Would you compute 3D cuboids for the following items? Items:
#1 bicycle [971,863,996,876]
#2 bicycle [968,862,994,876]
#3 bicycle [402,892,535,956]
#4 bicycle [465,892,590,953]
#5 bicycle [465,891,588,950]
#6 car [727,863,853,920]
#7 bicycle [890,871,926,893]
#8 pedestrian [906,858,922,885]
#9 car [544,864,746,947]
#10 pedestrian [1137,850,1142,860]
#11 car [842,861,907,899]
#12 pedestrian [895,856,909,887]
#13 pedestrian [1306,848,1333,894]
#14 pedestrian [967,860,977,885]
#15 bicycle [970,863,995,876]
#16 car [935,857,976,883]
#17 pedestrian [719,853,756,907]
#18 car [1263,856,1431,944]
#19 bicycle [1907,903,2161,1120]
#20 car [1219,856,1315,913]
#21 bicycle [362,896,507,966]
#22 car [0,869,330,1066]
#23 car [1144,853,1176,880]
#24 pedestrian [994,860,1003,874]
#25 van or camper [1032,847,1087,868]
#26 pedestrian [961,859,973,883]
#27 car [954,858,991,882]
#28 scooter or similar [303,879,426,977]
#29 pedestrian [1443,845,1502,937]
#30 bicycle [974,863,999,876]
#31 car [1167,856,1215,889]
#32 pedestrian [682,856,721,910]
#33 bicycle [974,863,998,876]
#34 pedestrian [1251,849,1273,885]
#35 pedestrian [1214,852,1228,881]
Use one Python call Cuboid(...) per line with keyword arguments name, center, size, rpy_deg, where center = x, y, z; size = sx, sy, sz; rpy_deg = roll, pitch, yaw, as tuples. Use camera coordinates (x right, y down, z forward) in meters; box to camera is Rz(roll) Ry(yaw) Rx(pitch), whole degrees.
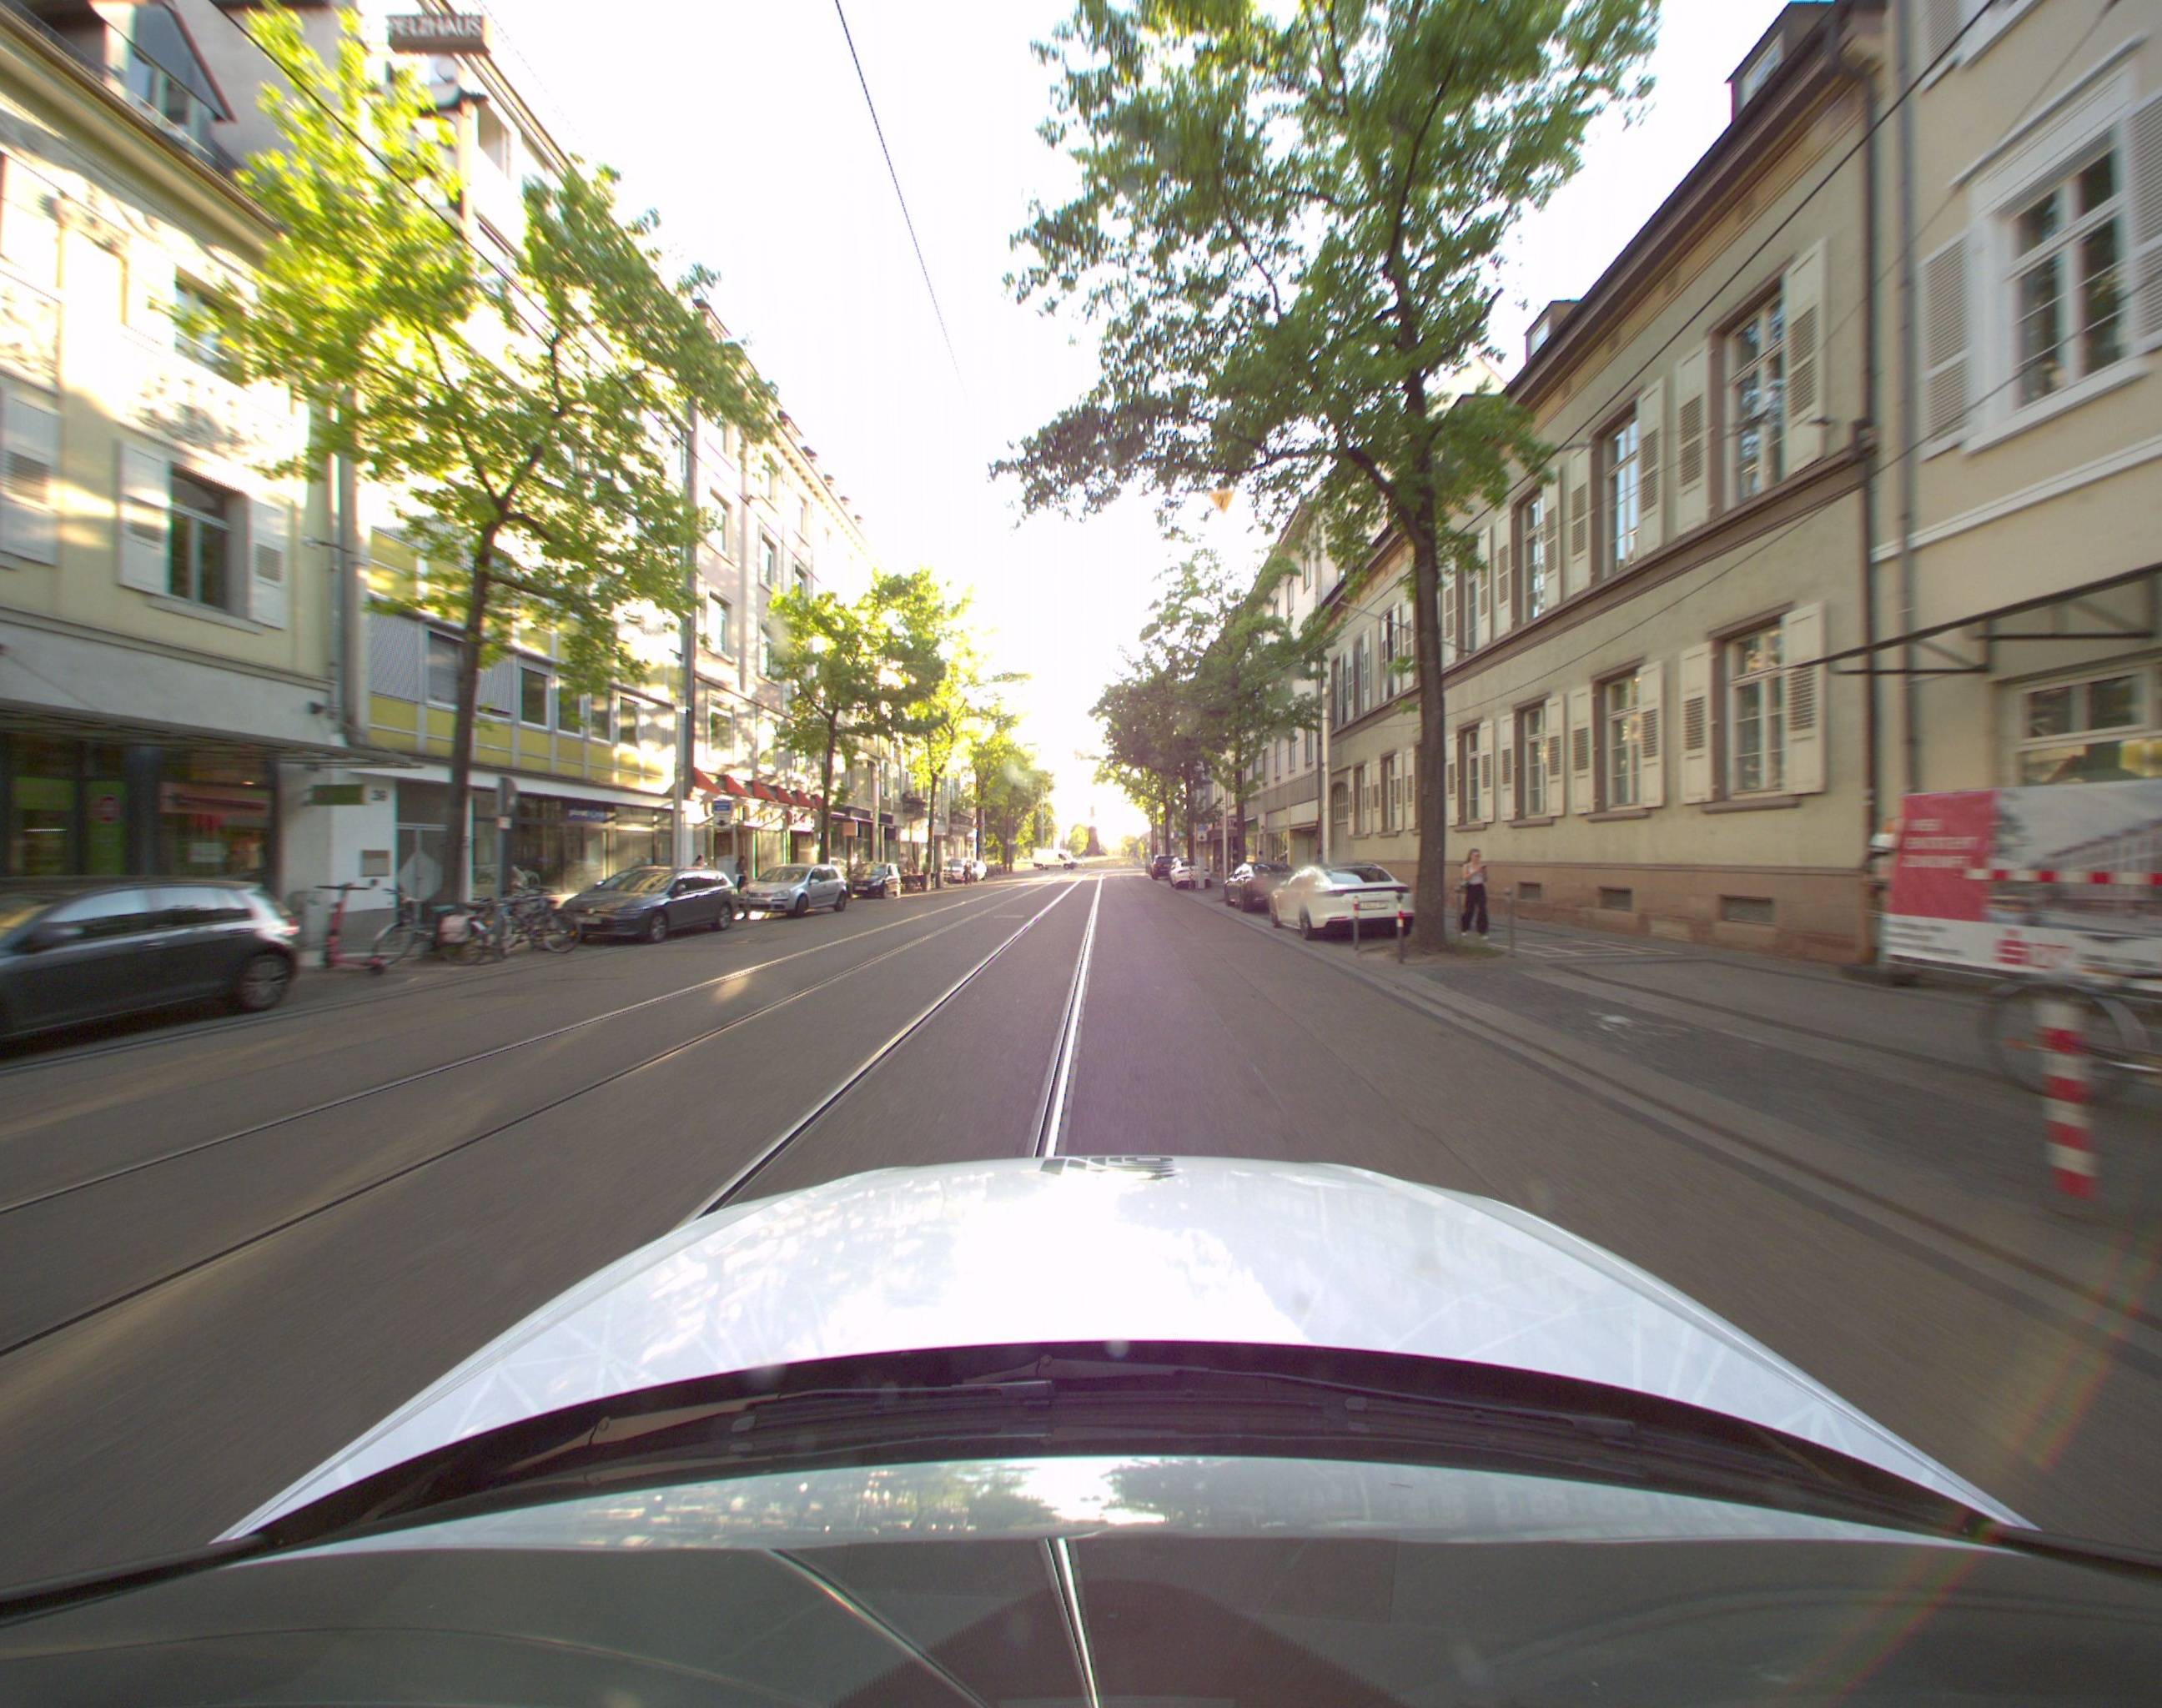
Cuboid(name="bicycle", center=(-8.319, 1.320, 69.475), size=(2.032, 1.105, 0.497), rpy_deg=(2, -1, -24))
Cuboid(name="bicycle", center=(-8.365, 1.280, 68.250), size=(2.117, 1.105, 0.497), rpy_deg=(2, -1, -24))
Cuboid(name="bicycle", center=(-10.032, 1.141, 13.345), size=(1.961, 1.001, 0.420), rpy_deg=(0, -1, 5))
Cuboid(name="bicycle", center=(-9.354, 1.153, 13.775), size=(1.962, 1.001, 0.331), rpy_deg=(0, -1, 4))
Cuboid(name="bicycle", center=(-9.642, 1.155, 14.167), size=(1.962, 1.001, 0.331), rpy_deg=(0, -1, 3))
Cuboid(name="car", center=(-8.293, 1.010, 23.662), size=(1.758, 1.497, 4.182), rpy_deg=(0, -1, 6))
Cuboid(name="bicycle", center=(-8.182, 1.313, 38.556), size=(1.607, 0.965, 0.433), rpy_deg=(1, 0, 6))
Cuboid(name="pedestrian", center=(-10.672, 1.111, 52.072), size=(0.719, 1.760, 1.090), rpy_deg=(0, 0, 2))
Cuboid(name="car", center=(-8.955, 0.968, 17.234), size=(1.705, 1.461, 4.488), rpy_deg=(1, 0, 2))
Cuboid(name="pedestrian", center=(9.246, 0.205, 129.051), size=(0.633, 1.606, 0.773), rpy_deg=(-1, 0, 6))
Cuboid(name="car", center=(-8.617, 1.050, 34.299), size=(1.660, 1.428, 3.828), rpy_deg=(2, 0, 1))
Cuboid(name="pedestrian", center=(-11.447, 1.122, 52.169), size=(0.719, 2.014, 0.643), rpy_deg=(0, 0, 1))
Cuboid(name="pedestrian", center=(8.835, 0.618, 30.200), size=(0.655, 1.665, 0.888), rpy_deg=(-3, -1, 1))
Cuboid(name="pedestrian", center=(-6.932, 1.173, 51.774), size=(0.519, 1.569, 0.634), rpy_deg=(-1, -1, 2))
Cuboid(name="bicycle", center=(-8.340, 1.330, 68.827), size=(2.032, 1.105, 0.497), rpy_deg=(2, -1, -24))
Cuboid(name="car", center=(-8.270, 1.016, 53.826), size=(1.829, 1.580, 4.118), rpy_deg=(3, 0, 2))
Cuboid(name="pedestrian", center=(-11.032, 0.828, 26.163), size=(0.841, 1.693, 0.740), rpy_deg=(-1, 0, 0))
Cuboid(name="car", center=(5.123, 0.793, 16.469), size=(1.905, 1.420, 4.890), rpy_deg=(-3, 0, 2))
Cuboid(name="bicycle", center=(6.012, 0.883, 4.617), size=(0.417, 1.100, 1.982), rpy_deg=(-2, -1, -8))
Cuboid(name="car", center=(5.511, 0.839, 24.721), size=(1.826, 1.478, 4.762), rpy_deg=(-3, 0, 1))
Cuboid(name="bicycle", center=(-9.585, 1.134, 12.085), size=(1.962, 1.001, 0.331), rpy_deg=(0, -1, 4))
Cuboid(name="car", center=(-9.529, 0.928, 7.314), size=(1.788, 1.490, 4.236), rpy_deg=(1, 0, -4))
Cuboid(name="car", center=(5.772, 0.881, 60.139), size=(1.931, 1.759, 4.681), rpy_deg=(-4, 0, 1))
Cuboid(name="pedestrian", center=(-7.815, 1.249, 77.231), size=(0.726, 1.290, 0.856), rpy_deg=(0, 0, -1))
Cuboid(name="van or camper", center=(-2.690, 0.469, 101.335), size=(6.249, 2.472, 2.628), rpy_deg=(-1, 0, 17))
Cuboid(name="pedestrian", center=(-7.113, 1.057, 50.897), size=(0.617, 1.509, 0.730), rpy_deg=(-1, -1, 2))
Cuboid(name="car", center=(-7.885, 1.105, 59.551), size=(1.829, 1.580, 4.704), rpy_deg=(3, 0, 2))
Cuboid(name="scooter or similar", center=(-9.848, 0.999, 11.201), size=(1.412, 1.270, 0.375), rpy_deg=(1, 0, 5))
Cuboid(name="pedestrian", center=(6.863, 0.633, 14.303), size=(0.646, 1.573, 0.799), rpy_deg=(0, 0, 1))
Cuboid(name="bicycle", center=(-8.154, 1.320, 70.352), size=(2.014, 1.105, 0.501), rpy_deg=(1, -1, 4))
Cuboid(name="car", center=(5.669, 0.915, 42.451), size=(1.986, 1.498, 4.682), rpy_deg=(-4, 0, 2))
Cuboid(name="pedestrian", center=(-12.133, 0.921, 26.067), size=(0.786, 1.693, 0.914), rpy_deg=(-1, 0, 1))
Cuboid(name="bicycle", center=(-8.297, 1.321, 70.941), size=(2.014, 1.105, 0.501), rpy_deg=(1, -1, 4))
Cuboid(name="pedestrian", center=(9.202, 0.662, 41.398), size=(0.855, 1.753, 0.933), rpy_deg=(-4, 0, 1))
Cuboid(name="pedestrian", center=(8.487, 0.742, 49.311), size=(0.641, 1.670, 0.786), rpy_deg=(-4, 0, 1))
